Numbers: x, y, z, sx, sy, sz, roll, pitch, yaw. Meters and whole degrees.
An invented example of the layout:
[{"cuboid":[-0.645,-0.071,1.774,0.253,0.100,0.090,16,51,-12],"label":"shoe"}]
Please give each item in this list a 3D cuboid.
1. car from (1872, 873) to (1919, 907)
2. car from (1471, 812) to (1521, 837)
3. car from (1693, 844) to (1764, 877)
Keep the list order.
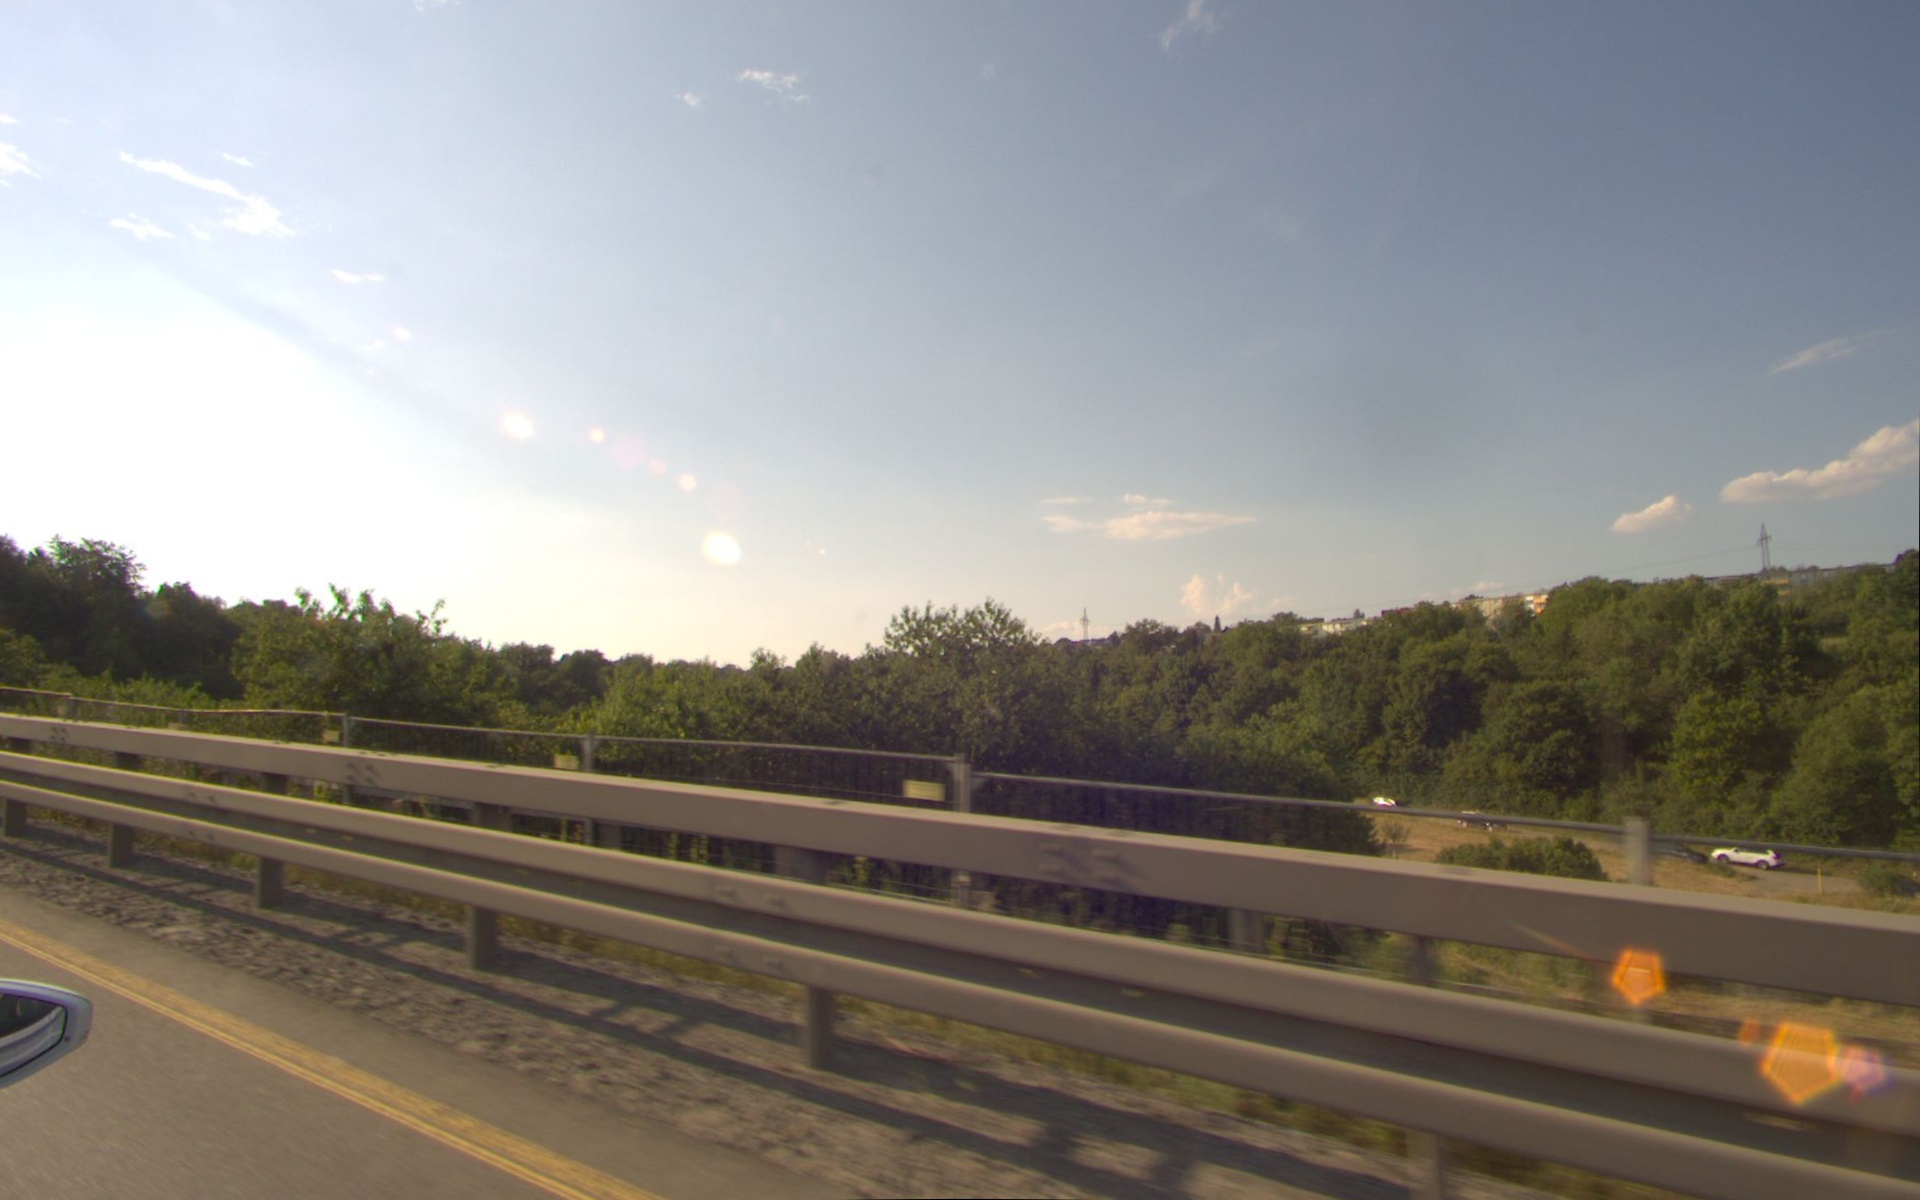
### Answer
[{"cuboid":[65.837,20.116,69.041,1.658,1.573,4.086,0,-1,-30],"label":"car"},{"cuboid":[52.253,21.842,97.676,1.659,1.573,4.083,0,-1,-32],"label":"car"},{"cuboid":[59.609,20.220,77.770,1.661,1.573,4.079,0,-2,-35],"label":"car"}]
